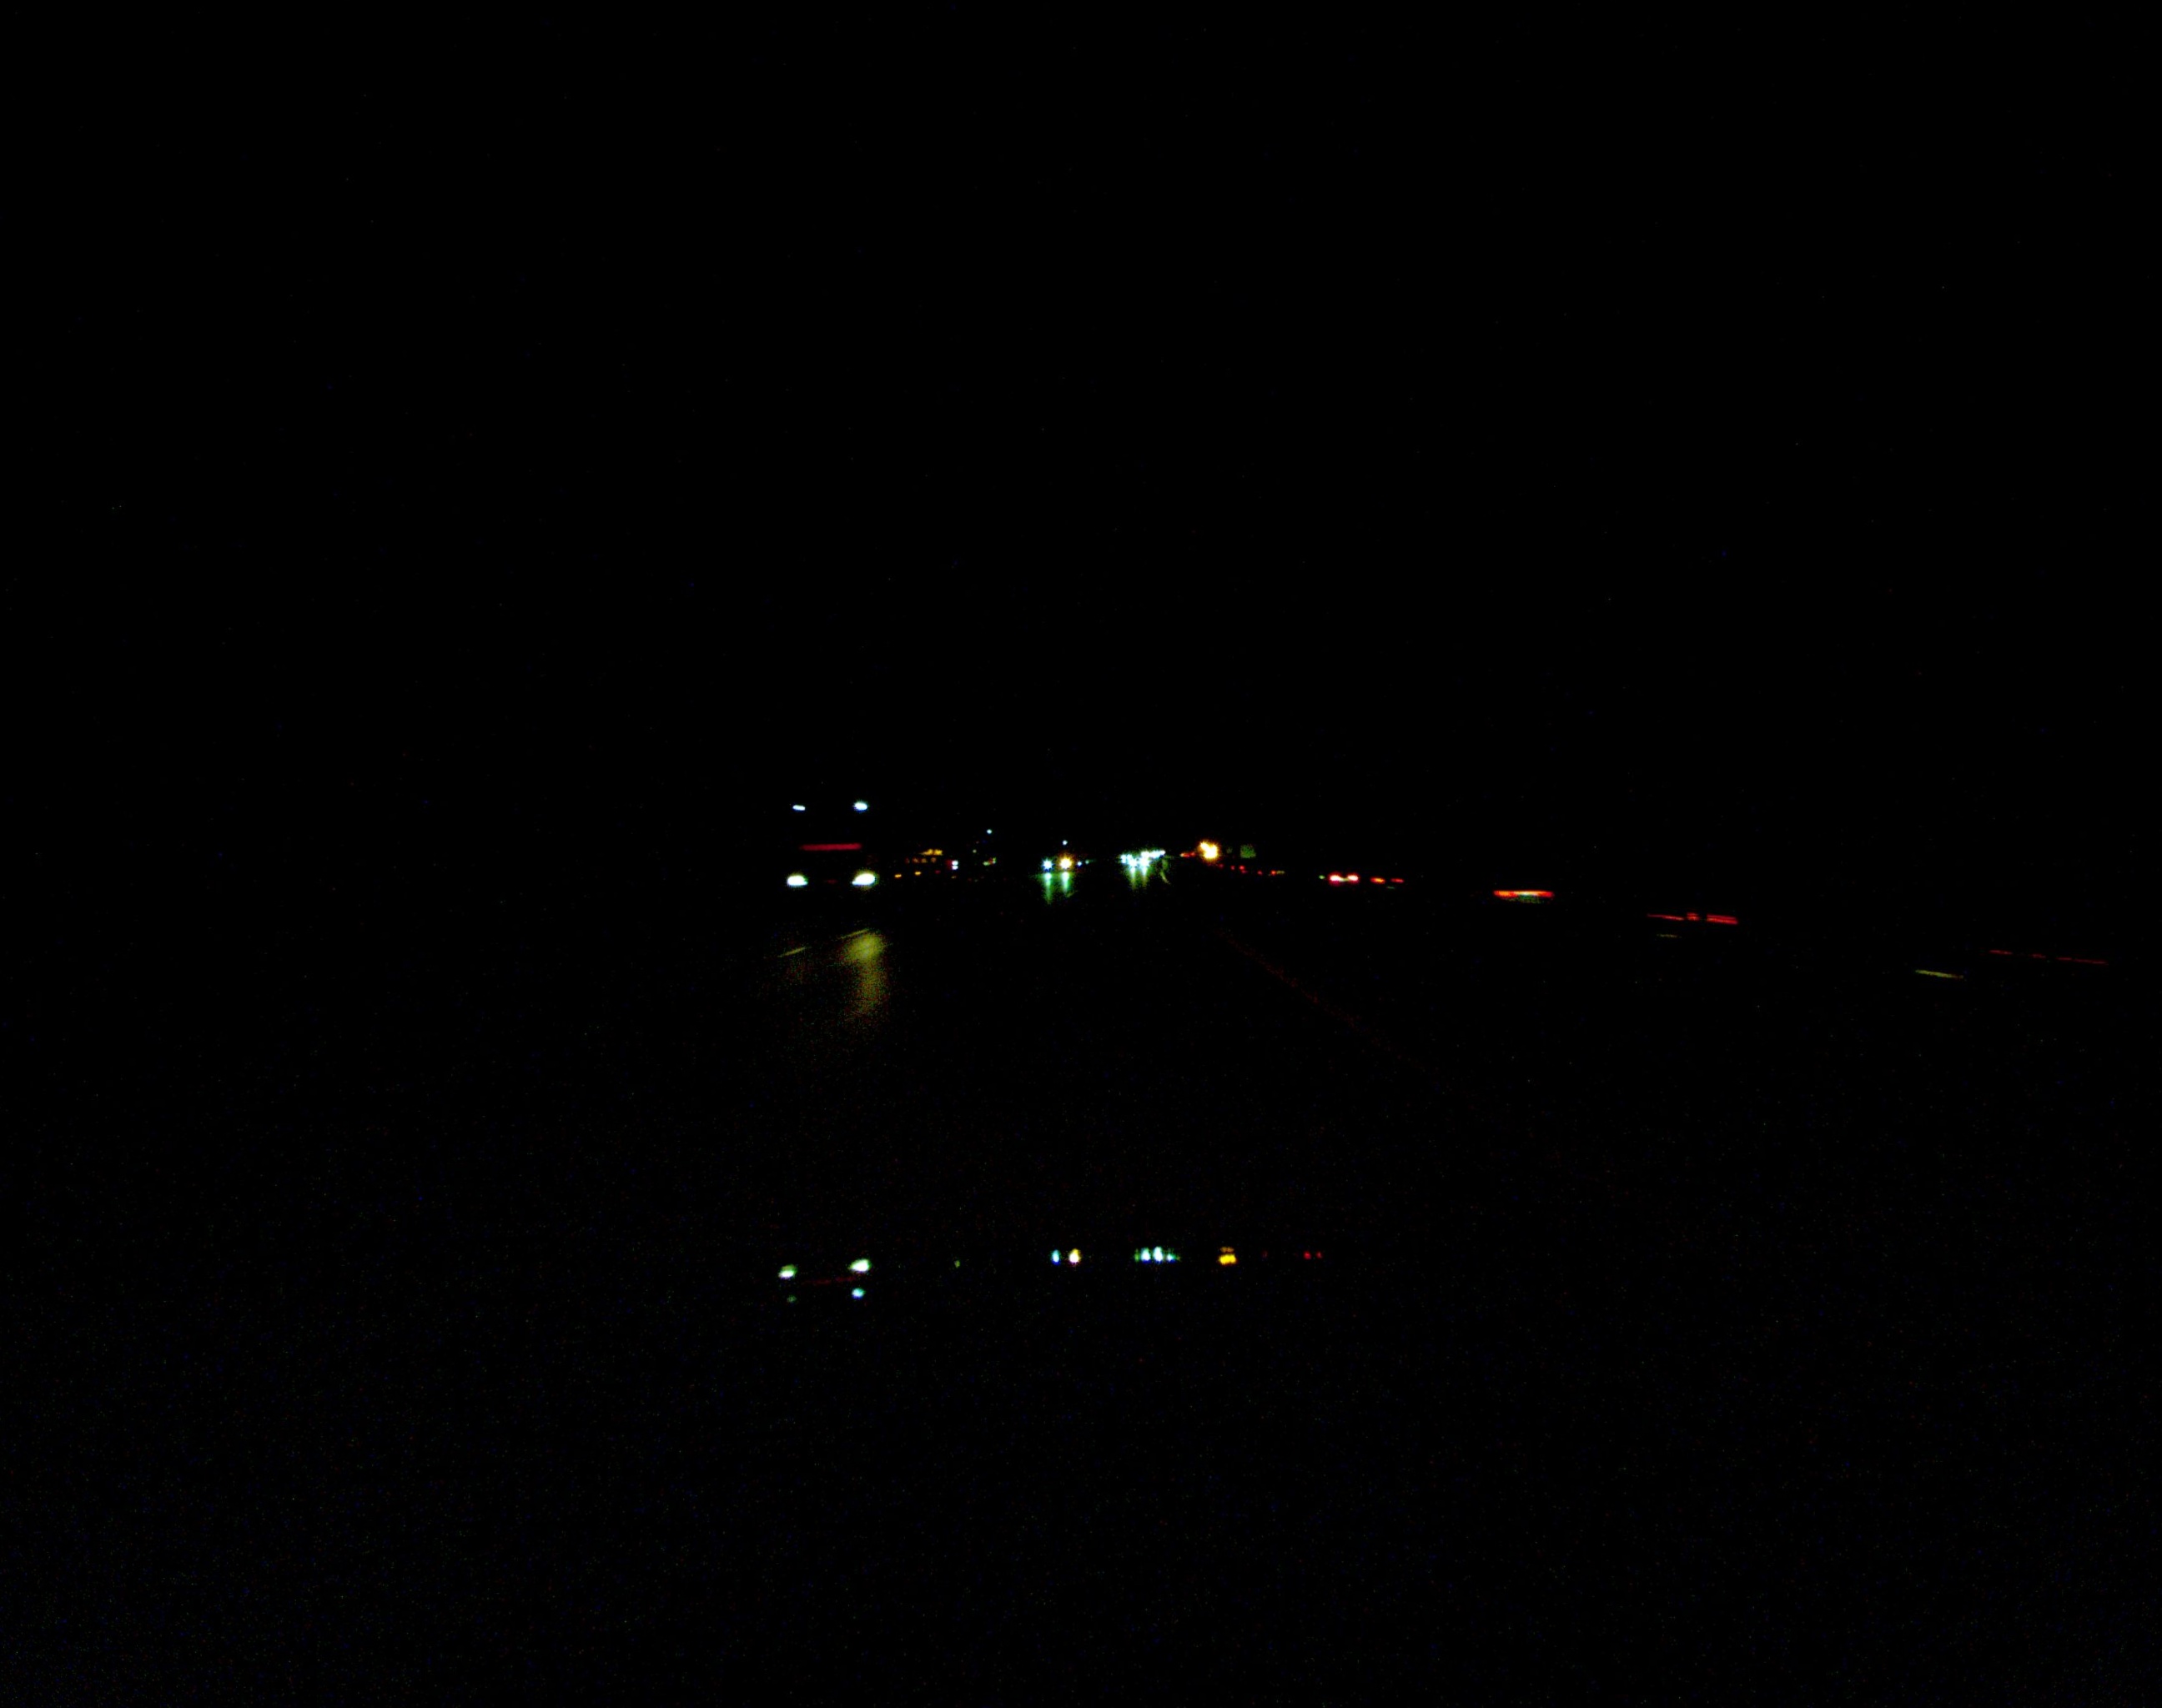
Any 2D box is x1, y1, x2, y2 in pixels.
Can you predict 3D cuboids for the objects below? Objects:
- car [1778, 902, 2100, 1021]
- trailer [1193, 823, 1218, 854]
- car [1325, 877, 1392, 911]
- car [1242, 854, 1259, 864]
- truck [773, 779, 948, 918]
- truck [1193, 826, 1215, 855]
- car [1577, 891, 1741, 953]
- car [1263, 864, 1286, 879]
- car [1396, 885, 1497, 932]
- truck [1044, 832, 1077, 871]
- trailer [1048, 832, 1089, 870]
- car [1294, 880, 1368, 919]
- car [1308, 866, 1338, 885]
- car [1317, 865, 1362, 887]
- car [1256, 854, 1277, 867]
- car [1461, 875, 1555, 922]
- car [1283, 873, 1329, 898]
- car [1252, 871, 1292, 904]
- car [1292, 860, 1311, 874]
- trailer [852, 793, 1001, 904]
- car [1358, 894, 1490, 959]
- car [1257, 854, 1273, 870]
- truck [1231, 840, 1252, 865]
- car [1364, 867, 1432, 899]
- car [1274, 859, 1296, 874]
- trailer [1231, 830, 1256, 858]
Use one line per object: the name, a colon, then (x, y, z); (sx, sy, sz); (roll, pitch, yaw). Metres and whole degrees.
car: (16.029, 1.901, 14.592); (1.954, 1.706, 4.002); (0, 0, 7)
trailer: (16.415, -2.020, 100.583); (2.540, 3.692, 10.130); (-3, 1, 7)
car: (14.441, 2.062, 39.856); (1.907, 1.445, 4.712); (-2, 0, 2)
car: (25.981, 0.786, 116.700); (1.997, 1.482, 4.405); (-2, 0, 7)
truck: (-6.908, -0.165, 25.409); (2.873, 3.817, 8.056); (-2, 0, 4)
truck: (17.292, -1.905, 107.286); (2.608, 3.722, 6.758); (-3, 1, 7)
car: (16.857, 1.916, 22.450); (1.827, 1.449, 4.000); (1, 0, 1)
car: (17.788, 1.623, 70.092); (1.722, 1.295, 4.003); (0, 0, 9)
car: (13.635, 1.986, 28.629); (1.827, 1.449, 3.999); (1, 0, -1)
truck: (-2.183, -0.284, 81.370); (2.899, 3.949, 4.002); (-2, 0, 6)
trailer: (-1.296, -0.350, 89.799); (2.838, 3.951, 15.770); (-2, 0, 6)
car: (10.887, 1.953, 33.416); (1.821, 1.460, 4.279); (-1, 0, 0)
car: (20.834, 1.857, 65.428); (1.701, 1.390, 4.003); (5, 1, 8)
car: (19.537, 1.662, 57.531); (1.907, 1.445, 4.712); (-2, 0, 2)
car: (23.238, 0.813, 95.300); (1.997, 1.482, 4.405); (-1, 0, 7)
car: (18.050, 1.822, 32.331); (1.757, 1.706, 4.000); (-2, 0, 1)
car: (15.627, 2.159, 52.921); (1.907, 1.445, 4.712); (-2, 0, 2)
car: (11.869, 2.039, 47.349); (1.736, 1.847, 4.001); (1, 0, 4)
car: (22.896, 1.316, 78.992); (1.709, 1.368, 4.004); (-1, 0, 13)
trailer: (-6.277, -0.280, 33.939); (2.880, 3.909, 12.889); (-2, 1, 5)
car: (9.634, 1.990, 21.753); (1.821, 1.460, 4.279); (-1, -1, 0)
car: (24.407, 0.983, 100.750); (1.892, 2.002, 4.004); (-2, 0, 13)
truck: (28.716, -0.295, 136.210); (3.093, 4.291, 6.286); (-3, 1, 9)
car: (18.776, 1.695, 45.216); (2.079, 1.625, 4.921); (-2, 0, 2)
car: (23.384, 1.392, 87.228); (1.997, 1.539, 4.141); (-2, 0, 9)
trailer: (27.500, -1.748, 129.313); (3.154, 4.291, 14.818); (-3, 1, 9)
